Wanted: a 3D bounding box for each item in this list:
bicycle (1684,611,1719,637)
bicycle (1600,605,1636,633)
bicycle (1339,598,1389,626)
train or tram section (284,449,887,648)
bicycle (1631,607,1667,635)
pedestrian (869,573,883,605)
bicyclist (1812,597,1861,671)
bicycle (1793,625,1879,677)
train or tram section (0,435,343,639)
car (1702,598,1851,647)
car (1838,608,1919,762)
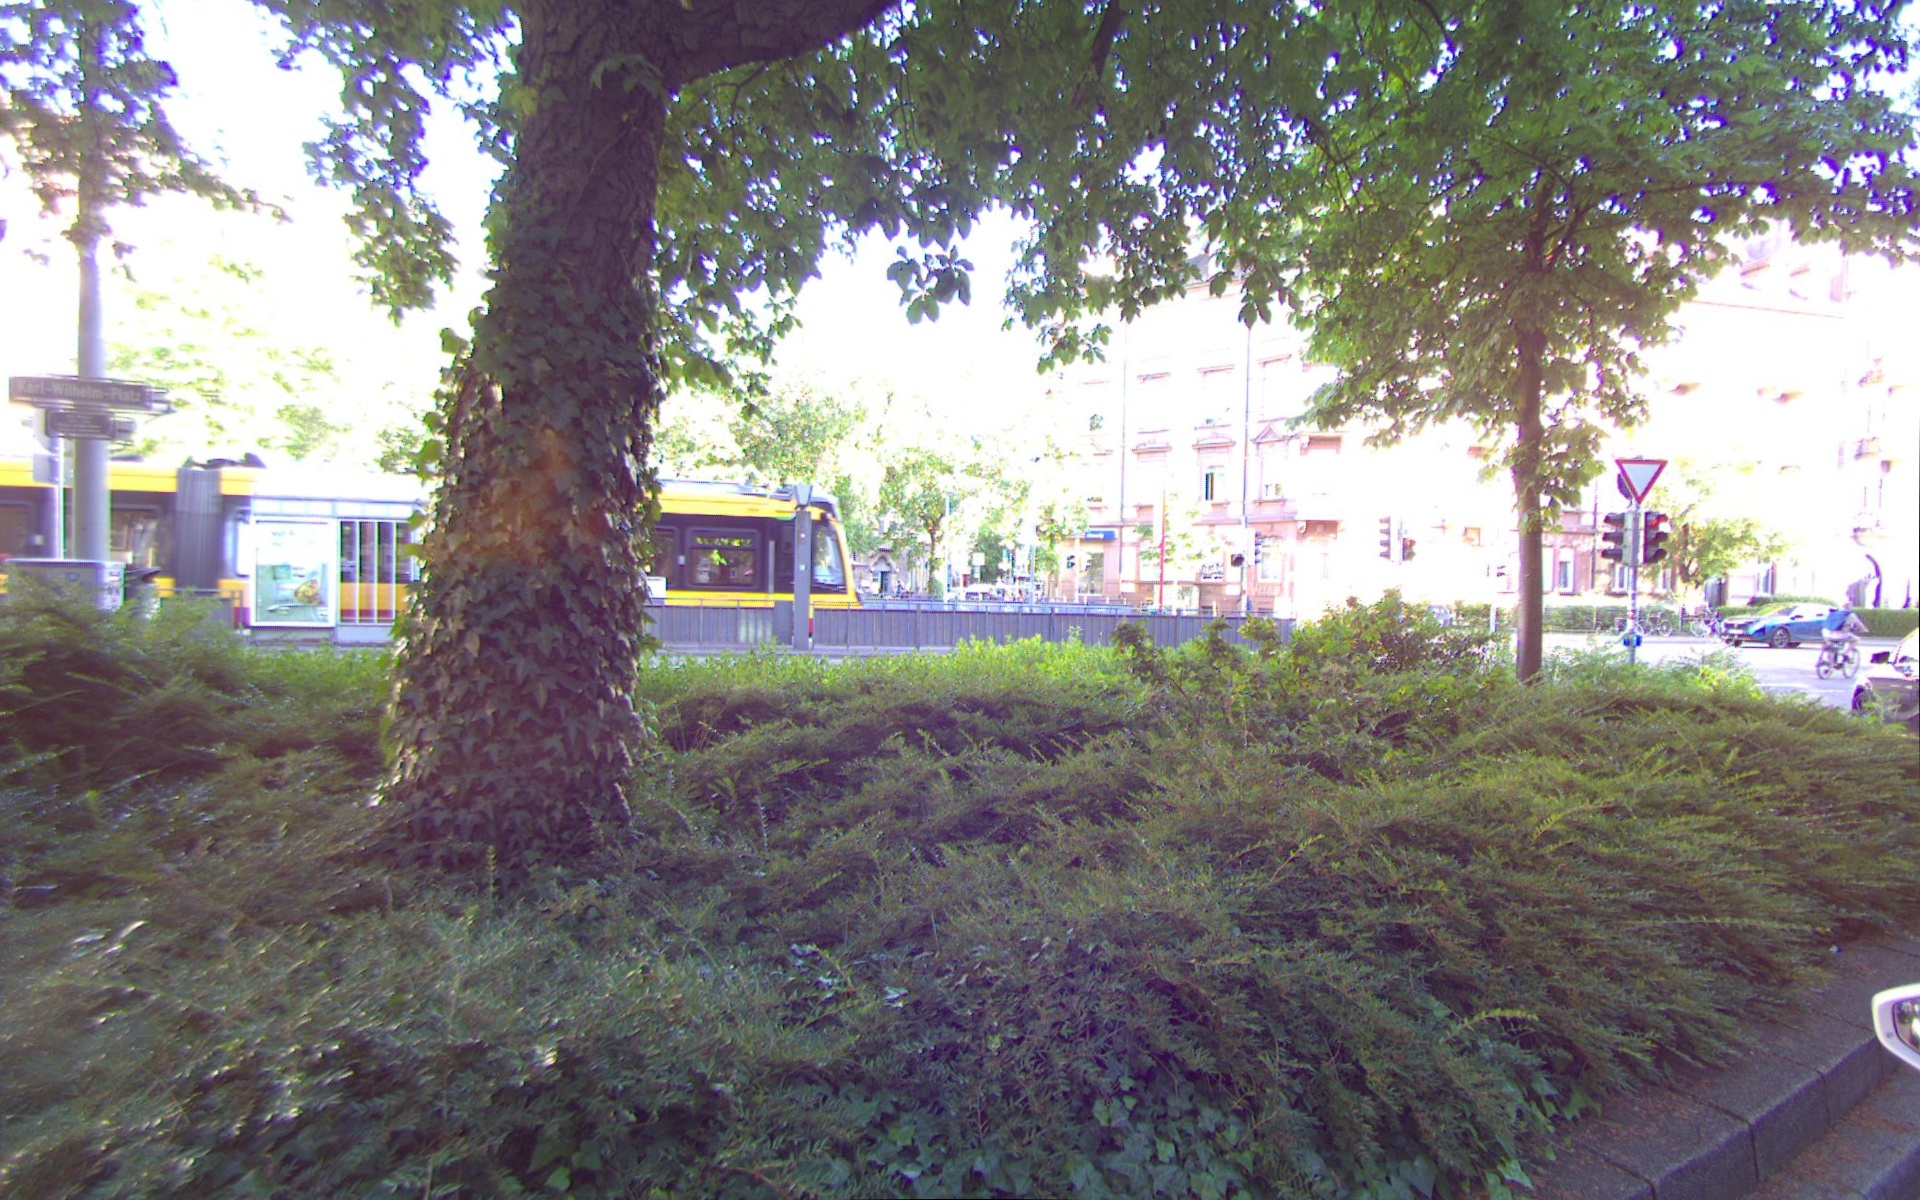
[{"bbox_3d":[31.584,1.016,42.771,1.211,1.052,0.442,1,2,-8],"label":"bicycle"},{"bbox_3d":[27.682,0.809,42.243,1.210,1.122,0.442,1,2,-7],"label":"bicycle"},{"bbox_3d":[17.577,0.524,43.732,1.928,1.122,0.443,3,2,22],"label":"bicycle"},{"bbox_3d":[-7.584,-0.949,21.935,11.598,3.668,2.793,1,1,-13],"label":"train or tram section"},{"bbox_3d":[29.057,0.886,42.377,1.210,1.122,0.442,1,2,-7],"label":"bicycle"},{"bbox_3d":[-5.613,-0.729,66.897,0.700,2.040,0.740,2,0,11],"label":"pedestrian"},{"bbox_3d":[19.797,0.762,22.697,0.664,1.619,0.528,1,1,-18],"label":"bicyclist"},{"bbox_3d":[19.805,1.146,22.710,1.936,1.122,0.533,1,1,-19],"label":"bicycle"},{"bbox_3d":[-19.158,-1.236,19.206,12.206,3.635,2.779,1,1,-13],"label":"train or tram section"},{"bbox_3d":[30.015,0.826,36.966,4.333,1.672,1.944,1,1,-12],"label":"car"},{"bbox_3d":[10.778,0.866,10.284,1.762,1.562,3.855,0,0,27],"label":"car"}]
